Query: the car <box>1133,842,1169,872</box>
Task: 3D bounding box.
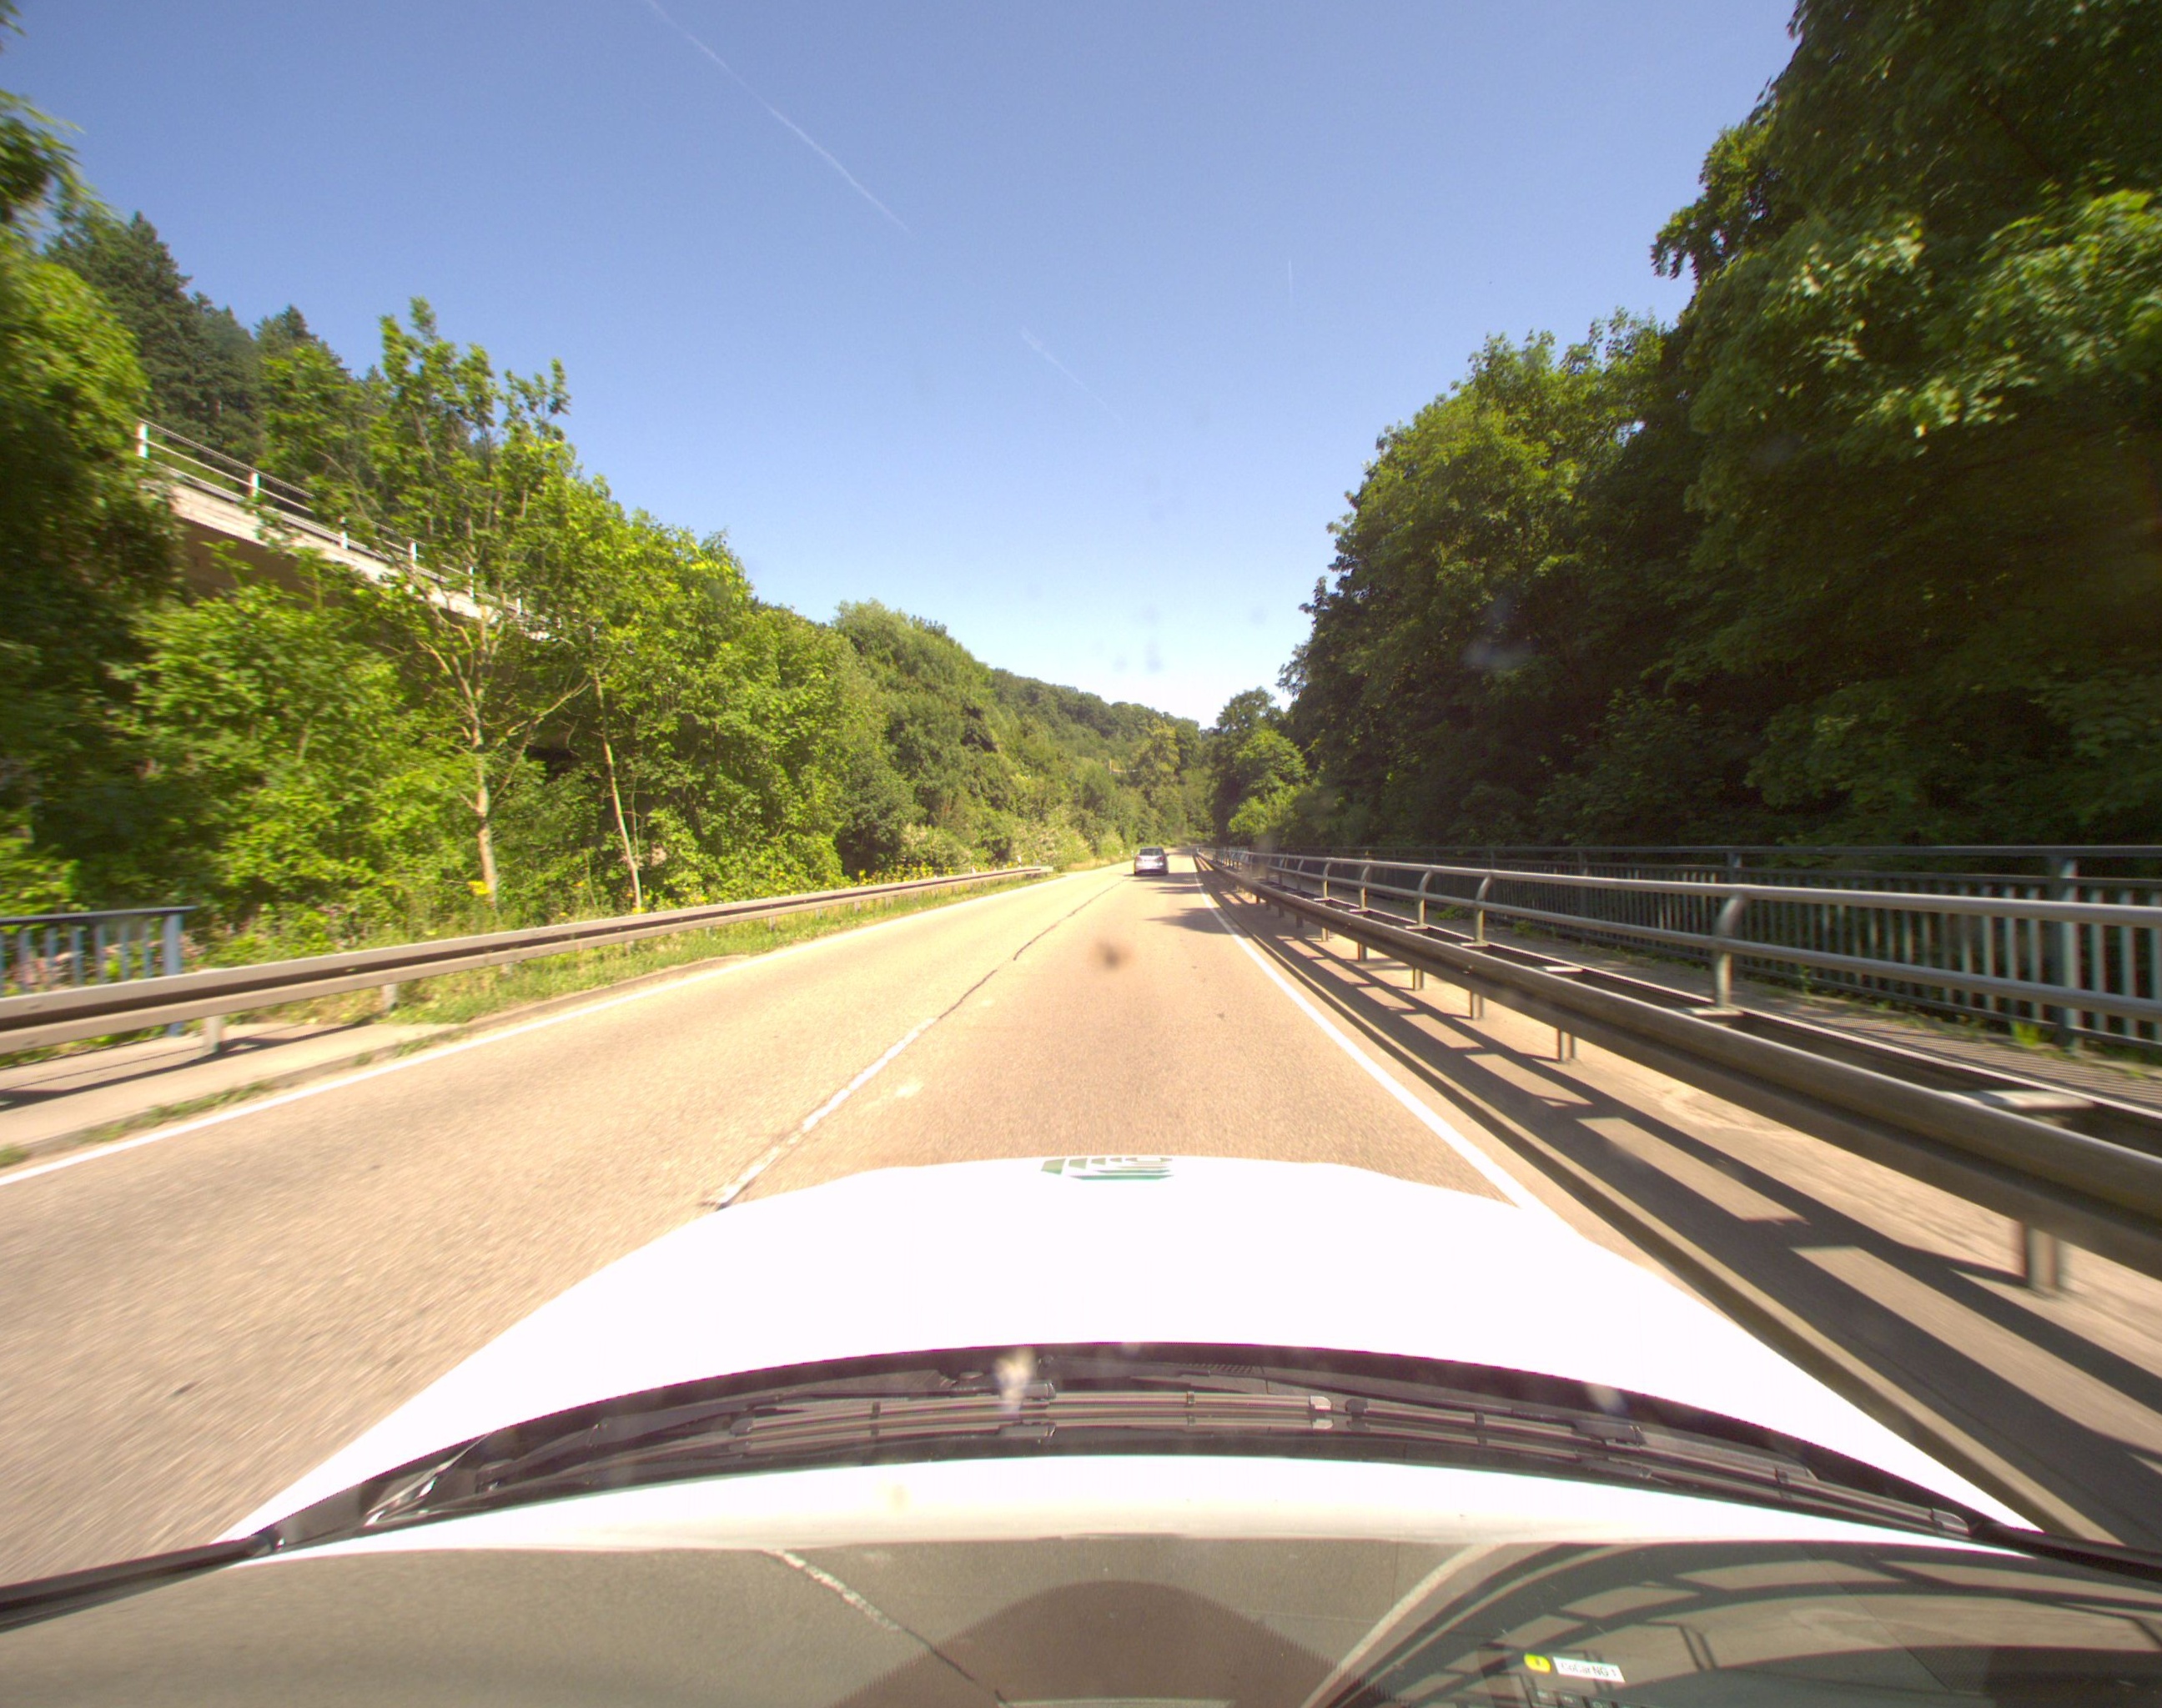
[{"bbox_3d":[3.833,0.131,44.246,1.741,1.520,4.168,0,1,8],"label":"car"}]
